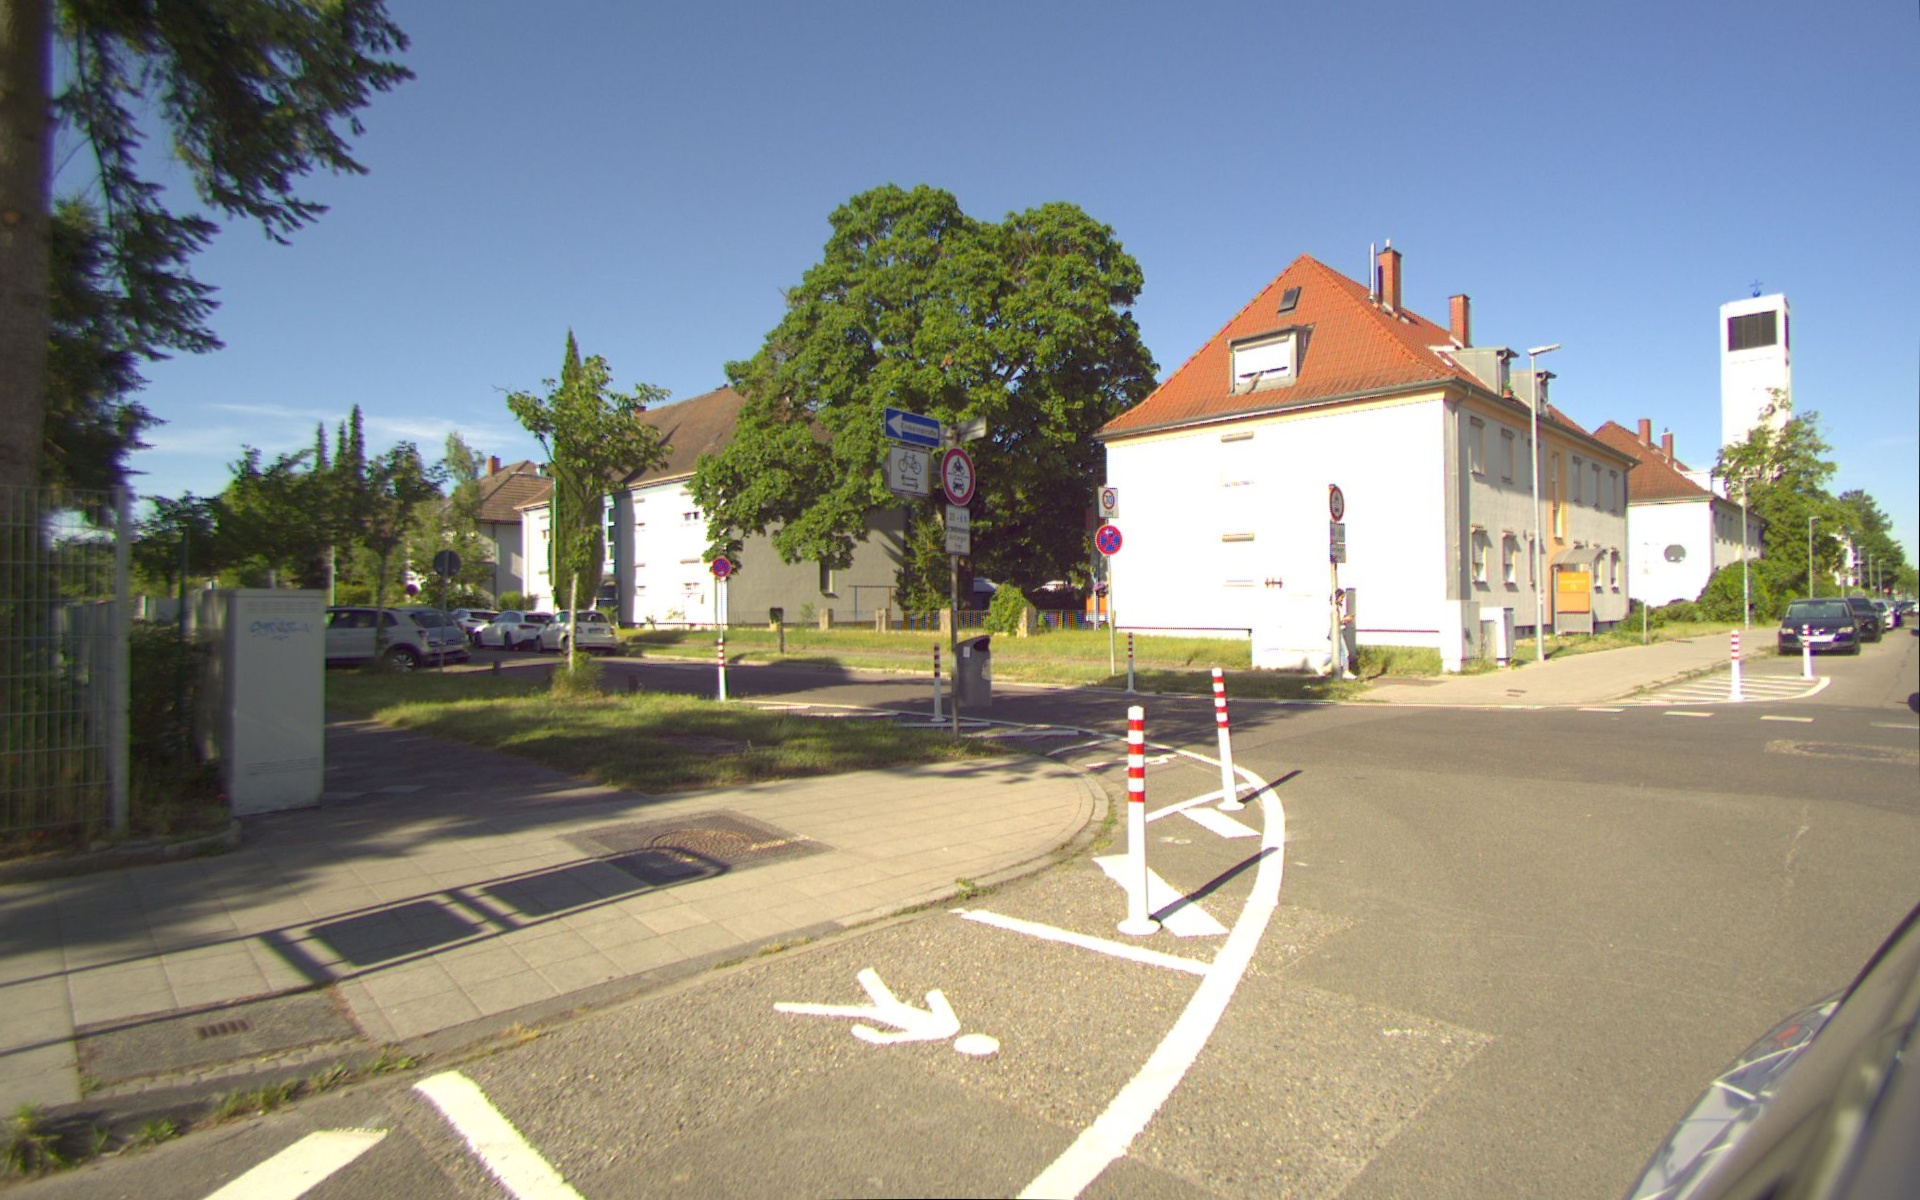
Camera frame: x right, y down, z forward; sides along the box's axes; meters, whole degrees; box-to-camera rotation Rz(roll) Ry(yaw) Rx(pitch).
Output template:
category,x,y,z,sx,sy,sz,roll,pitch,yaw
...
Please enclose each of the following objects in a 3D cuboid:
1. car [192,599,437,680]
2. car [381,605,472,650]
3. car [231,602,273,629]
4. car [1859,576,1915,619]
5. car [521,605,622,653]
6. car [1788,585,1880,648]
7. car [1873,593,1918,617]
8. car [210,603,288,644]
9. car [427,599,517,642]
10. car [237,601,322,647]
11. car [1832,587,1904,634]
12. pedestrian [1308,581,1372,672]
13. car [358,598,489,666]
category,x,y,z,sx,sy,sz,roll,pitch,yaw
car,-13.832,0.787,21.880,1.835,1.584,4.142,-1,-1,42
car,-18.807,0.935,35.616,1.811,1.459,3.990,1,-1,-44
car,-51.509,1.122,73.638,3.987,1.864,1.831,0,0,45
car,46.569,-0.130,50.836,4.186,2.039,1.866,0,0,-45
car,-12.918,0.914,33.543,3.712,1.498,1.712,0,0,43
car,25.401,0.430,29.378,3.998,1.685,1.717,-1,0,-45
car,54.004,0.260,58.405,3.747,1.359,1.717,-1,0,-45
car,-31.486,0.999,44.777,3.986,1.629,1.970,0,3,43
car,-19.683,0.795,40.759,3.986,1.630,1.969,0,0,43
car,-27.402,0.942,40.715,3.986,1.629,1.970,0,3,43
car,33.052,0.353,36.810,4.073,1.603,1.717,-1,0,-45
pedestrian,7.040,0.475,18.770,0.755,1.631,0.833,0,-1,-40
car,-14.914,0.827,28.069,3.986,1.629,1.970,0,3,43
